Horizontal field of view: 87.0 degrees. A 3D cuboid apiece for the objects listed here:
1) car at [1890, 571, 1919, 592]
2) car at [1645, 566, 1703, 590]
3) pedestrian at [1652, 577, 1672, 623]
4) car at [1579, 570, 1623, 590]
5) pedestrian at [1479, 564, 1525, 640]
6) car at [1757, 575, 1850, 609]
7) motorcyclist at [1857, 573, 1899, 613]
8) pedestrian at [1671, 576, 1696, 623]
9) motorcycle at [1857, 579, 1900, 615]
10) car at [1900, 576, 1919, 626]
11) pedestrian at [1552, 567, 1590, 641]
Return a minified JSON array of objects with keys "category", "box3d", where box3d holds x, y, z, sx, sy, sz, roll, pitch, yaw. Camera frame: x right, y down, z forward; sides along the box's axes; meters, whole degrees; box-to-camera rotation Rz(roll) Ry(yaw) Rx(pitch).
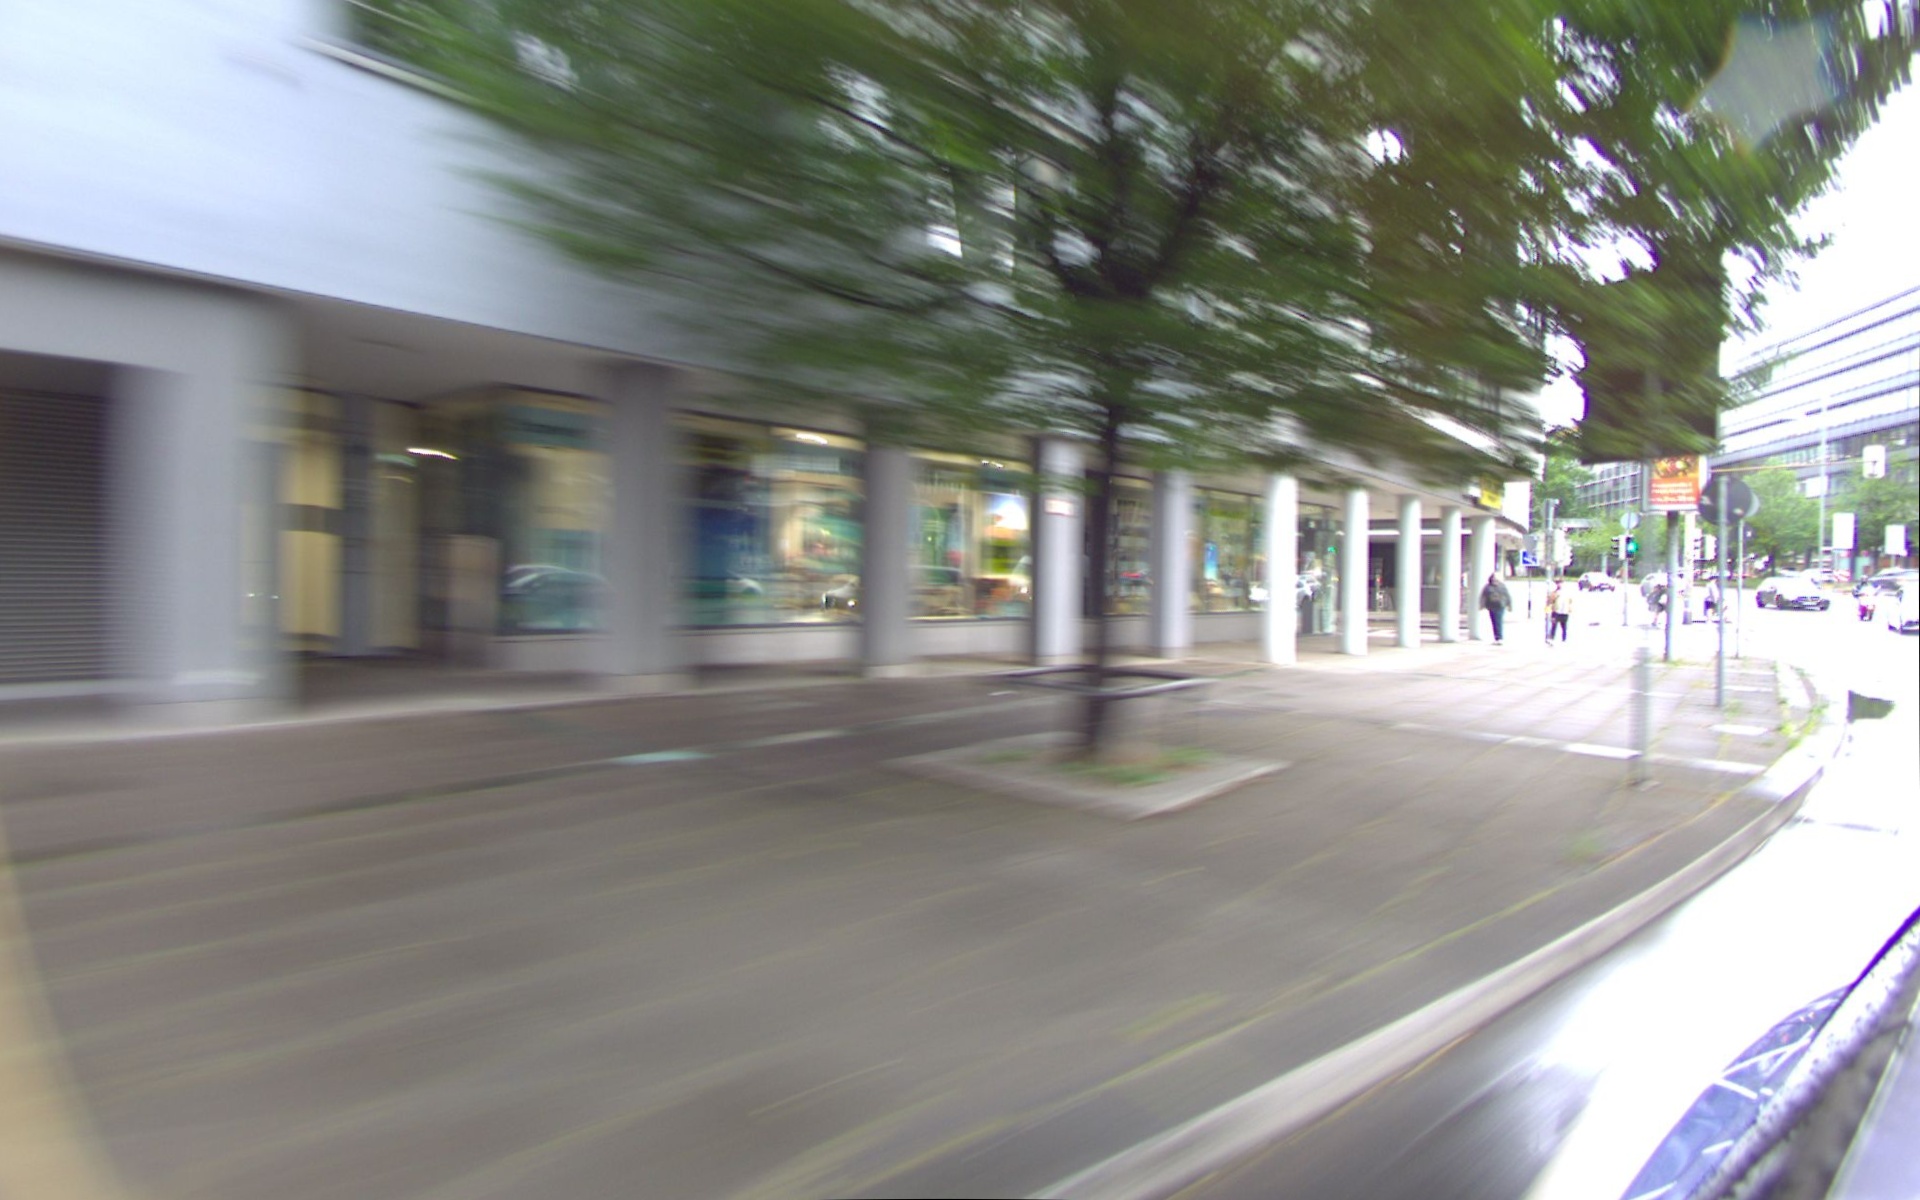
[{"category":"car","box3d":[69.419,-1.378,73.454,1.725,1.482,3.966,0,2,25]},{"category":"car","box3d":[46.783,-1.459,66.388,1.867,1.504,3.980,0,2,16]},{"category":"pedestrian","box3d":[24.891,-0.016,35.881,0.525,1.617,0.721,0,1,39]},{"category":"car","box3d":[50.507,-1.596,79.833,1.867,1.504,3.980,0,2,16]},{"category":"pedestrian","box3d":[13.184,0.039,24.630,0.791,1.805,0.881,0,0,42]},{"category":"car","box3d":[39.969,-0.411,48.089,1.866,1.504,3.982,0,2,15]},{"category":"motorcyclist","box3d":[35.440,-0.277,39.094,1.147,1.529,1.180,0,1,41]},{"category":"pedestrian","box3d":[25.365,-0.033,35.492,0.651,1.617,1.044,0,1,39]},{"category":"motorcycle","box3d":[35.580,-0.135,39.233,1.126,1.282,3.325,0,2,41]},{"category":"car","box3d":[31.309,0.013,32.317,1.683,1.504,3.942,0,2,40]},{"category":"pedestrian","box3d":[15.310,0.089,25.350,0.640,1.805,0.866,0,0,45]}]
